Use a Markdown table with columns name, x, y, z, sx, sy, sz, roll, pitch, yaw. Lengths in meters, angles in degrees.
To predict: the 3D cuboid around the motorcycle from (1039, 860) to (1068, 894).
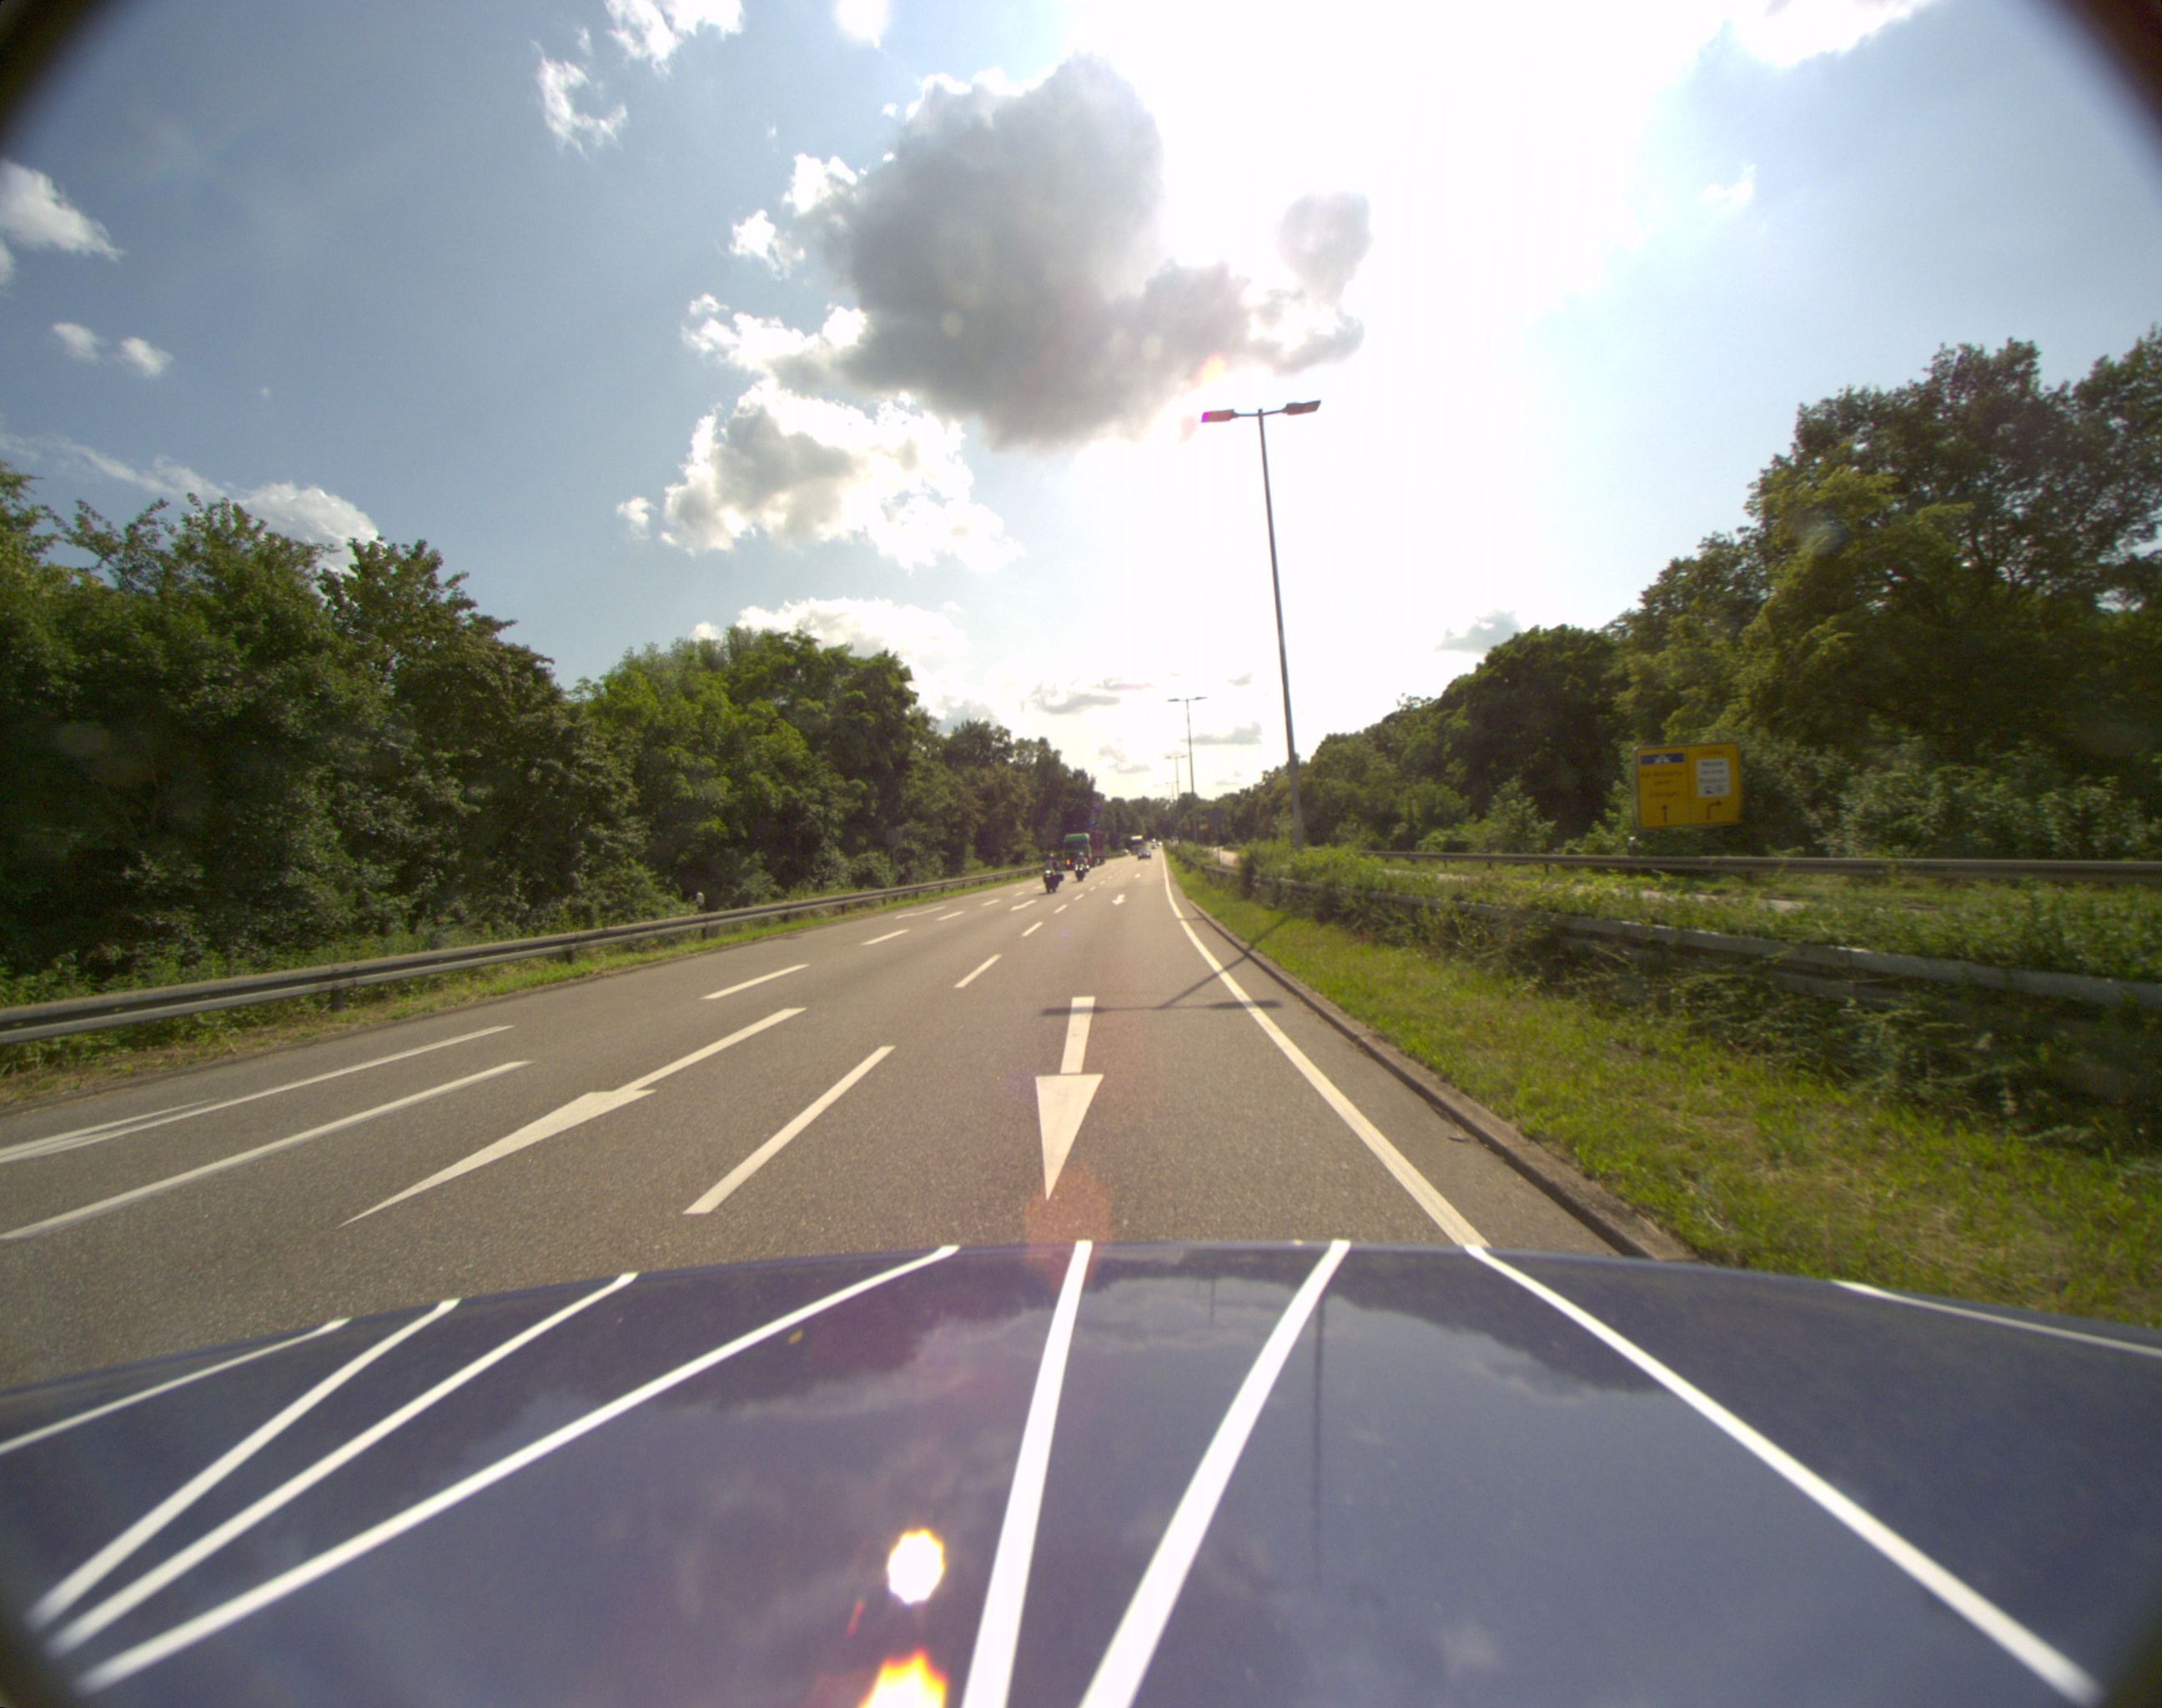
| name | x | y | z | sx | sy | sz | roll | pitch | yaw |
| --- | --- | --- | --- | --- | --- | --- | --- | --- | --- |
| motorcycle | -1.218 | 0.985 | 33.747 | 0.939 | 1.375 | 2.371 | -3 | 0 | 5 |

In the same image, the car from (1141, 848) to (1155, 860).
| name | x | y | z | sx | sy | sz | roll | pitch | yaw |
| --- | --- | --- | --- | --- | --- | --- | --- | --- | --- |
| car | 8.951 | -0.023 | 101.549 | 1.735 | 1.468 | 4.049 | -3 | 0 | 7 |

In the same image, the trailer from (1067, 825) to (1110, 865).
| name | x | y | z | sx | sy | sz | roll | pitch | yaw |
| --- | --- | --- | --- | --- | --- | --- | --- | --- | --- |
| trailer | 1.049 | -0.995 | 84.657 | 2.590 | 3.871 | 14.509 | -5 | 0 | 8 |

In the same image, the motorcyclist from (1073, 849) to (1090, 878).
| name | x | y | z | sx | sy | sz | roll | pitch | yaw |
| --- | --- | --- | --- | --- | --- | --- | --- | --- | --- |
| motorcyclist | 0.039 | 0.546 | 45.471 | 0.867 | 1.690 | 0.895 | -3 | 0 | 7 |

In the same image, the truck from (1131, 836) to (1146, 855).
| name | x | y | z | sx | sy | sz | roll | pitch | yaw |
| --- | --- | --- | --- | --- | --- | --- | --- | --- | --- |
| truck | 12.692 | -1.784 | 166.451 | 2.690 | 3.948 | 7.387 | -5 | 0 | 7 |

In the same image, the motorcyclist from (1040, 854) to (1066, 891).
| name | x | y | z | sx | sy | sz | roll | pitch | yaw |
| --- | --- | --- | --- | --- | --- | --- | --- | --- | --- |
| motorcyclist | -1.242 | 0.797 | 33.697 | 0.939 | 1.581 | 1.083 | -3 | 0 | 5 |

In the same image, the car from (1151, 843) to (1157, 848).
| name | x | y | z | sx | sy | sz | roll | pitch | yaw |
| --- | --- | --- | --- | --- | --- | --- | --- | --- | --- |
| car | 23.353 | -2.784 | 243.534 | 1.796 | 1.368 | 4.002 | -3 | 0 | 7 |

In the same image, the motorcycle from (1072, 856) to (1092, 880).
| name | x | y | z | sx | sy | sz | roll | pitch | yaw |
| --- | --- | --- | --- | --- | --- | --- | --- | --- | --- |
| motorcycle | 0.073 | 0.835 | 45.664 | 0.867 | 1.381 | 2.371 | -3 | 0 | 6 |

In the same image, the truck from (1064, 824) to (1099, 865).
| name | x | y | z | sx | sy | sz | roll | pitch | yaw |
| --- | --- | --- | --- | --- | --- | --- | --- | --- | --- |
| truck | 0.149 | -0.978 | 77.808 | 2.590 | 3.871 | 6.064 | -5 | 0 | 7 |
